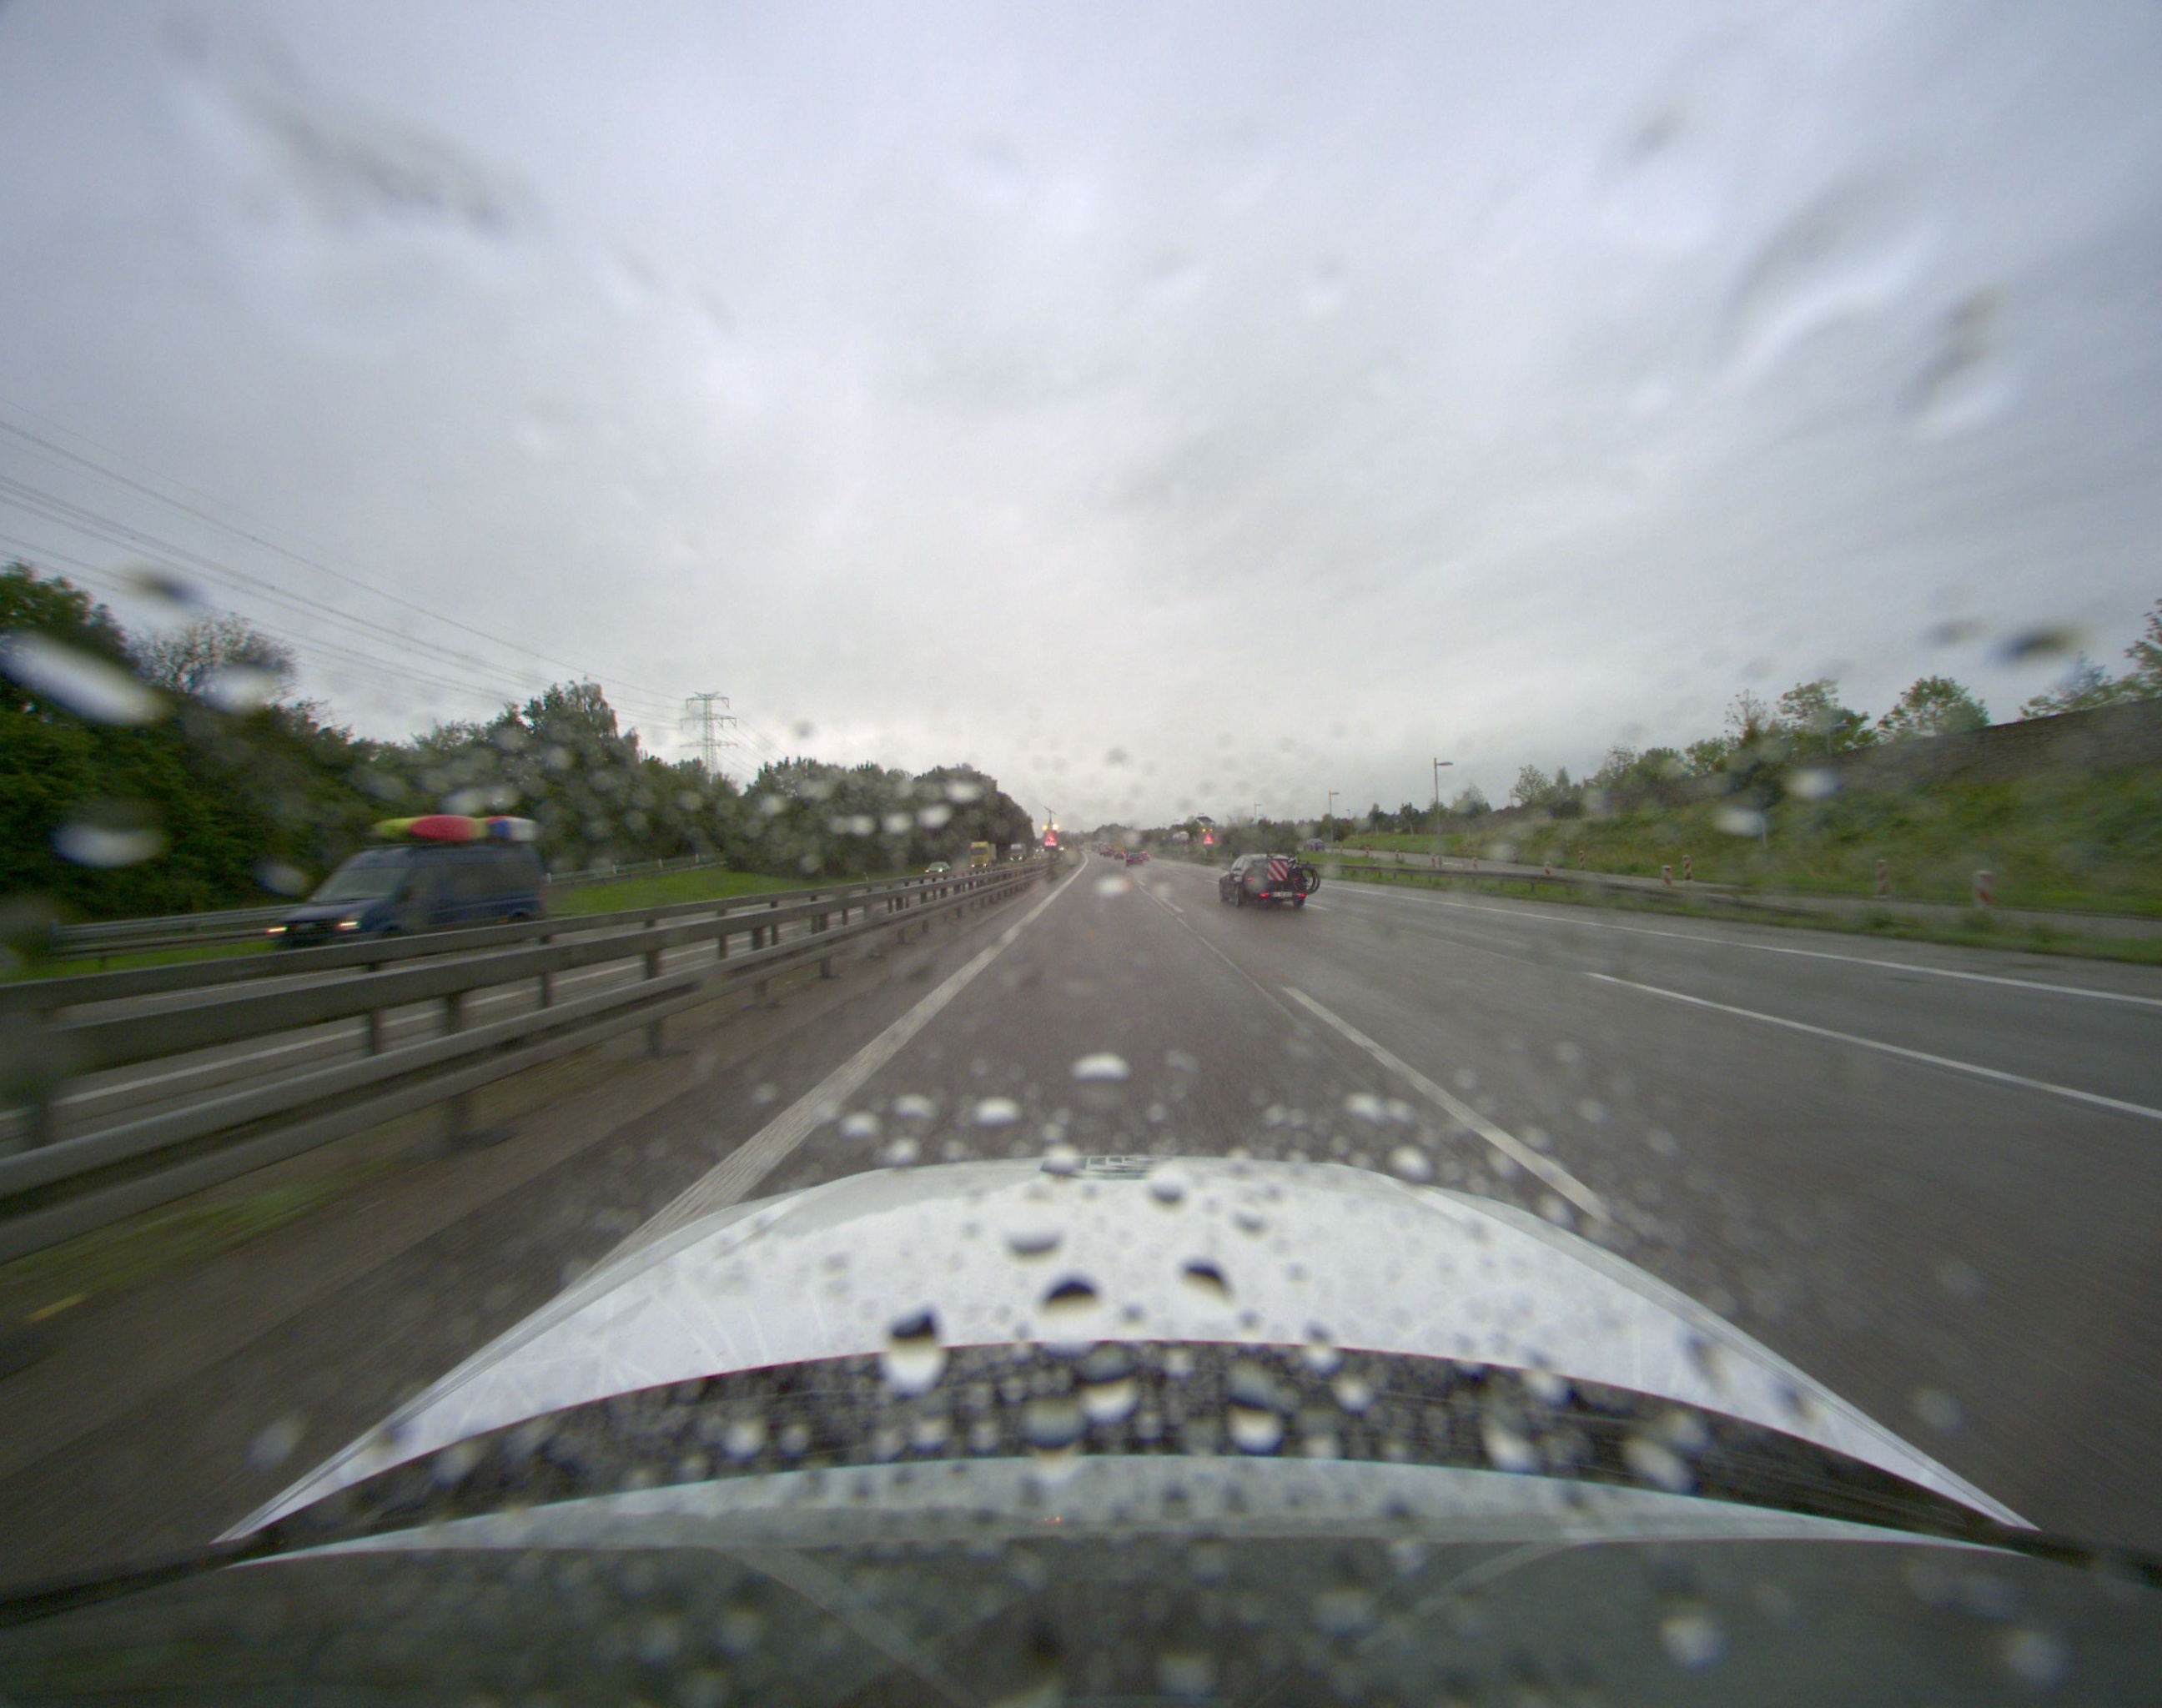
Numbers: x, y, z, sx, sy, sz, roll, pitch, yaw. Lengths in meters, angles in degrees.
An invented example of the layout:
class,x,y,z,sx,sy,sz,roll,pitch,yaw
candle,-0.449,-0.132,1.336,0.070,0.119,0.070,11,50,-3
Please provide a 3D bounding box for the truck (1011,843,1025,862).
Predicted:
class,x,y,z,sx,sy,sz,roll,pitch,yaw
truck,-14.347,-0.411,186.826,2.634,4.237,4.001,-2,0,1

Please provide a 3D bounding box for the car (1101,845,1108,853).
class,x,y,z,sx,sy,sz,roll,pitch,yaw
car,7.253,-1.473,248.038,1.987,2.205,4.000,-3,0,0

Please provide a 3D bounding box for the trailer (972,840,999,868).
class,x,y,z,sx,sy,sz,roll,pitch,yaw
trailer,-14.693,-0.060,126.001,2.752,4.055,9.201,-4,0,1

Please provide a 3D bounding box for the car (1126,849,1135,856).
class,x,y,z,sx,sy,sz,roll,pitch,yaw
car,11.735,-0.299,192.910,1.987,1.628,4.000,-3,0,0

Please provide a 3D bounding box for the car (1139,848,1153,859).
class,x,y,z,sx,sy,sz,roll,pitch,yaw
car,10.647,-0.027,133.360,1.987,1.761,4.000,-1,0,0

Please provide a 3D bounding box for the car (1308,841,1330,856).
class,x,y,z,sx,sy,sz,roll,pitch,yaw
car,29.209,-0.632,99.949,1.912,1.709,4.008,-3,0,7

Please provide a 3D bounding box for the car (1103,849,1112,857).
class,x,y,z,sx,sy,sz,roll,pitch,yaw
car,6.469,-0.272,196.420,1.987,1.628,4.000,-3,0,0

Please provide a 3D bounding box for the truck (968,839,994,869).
class,x,y,z,sx,sy,sz,roll,pitch,yaw
truck,-14.773,-0.004,120.454,2.752,4.055,6.157,-4,0,1

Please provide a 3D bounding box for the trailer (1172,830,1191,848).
class,x,y,z,sx,sy,sz,roll,pitch,yaw
trailer,24.055,-3.563,195.882,2.975,4.156,12.956,-3,0,1

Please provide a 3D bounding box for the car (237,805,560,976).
class,x,y,z,sx,sy,sz,roll,pitch,yaw
car,-15.772,0.736,19.539,2.246,3.327,6.177,-3,0,2

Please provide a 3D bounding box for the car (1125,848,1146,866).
class,x,y,z,sx,sy,sz,roll,pitch,yaw
car,5.906,0.313,89.080,1.987,1.761,4.000,-3,0,0

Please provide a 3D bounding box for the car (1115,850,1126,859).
class,x,y,z,sx,sy,sz,roll,pitch,yaw
car,7.367,0.069,152.129,1.987,1.628,4.000,-3,0,0

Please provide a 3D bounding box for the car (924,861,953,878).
class,x,y,z,sx,sy,sz,roll,pitch,yaw
car,-13.745,1.479,78.655,1.868,1.493,4.515,-3,0,1

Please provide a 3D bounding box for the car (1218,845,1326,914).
class,x,y,z,sx,sy,sz,roll,pitch,yaw
car,5.202,0.664,22.920,2.049,1.671,5.527,-1,-1,4

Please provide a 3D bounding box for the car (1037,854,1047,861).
class,x,y,z,sx,sy,sz,roll,pitch,yaw
car,-9.107,0.794,188.839,1.868,1.493,4.515,-3,0,1

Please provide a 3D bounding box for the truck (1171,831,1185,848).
class,x,y,z,sx,sy,sz,roll,pitch,yaw
truck,24.159,-3.577,203.131,2.939,4.145,4.923,-3,0,1

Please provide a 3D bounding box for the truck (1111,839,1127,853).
class,x,y,z,sx,sy,sz,roll,pitch,yaw
truck,11.089,-2.319,238.895,3.911,3.981,12.240,-3,0,1
